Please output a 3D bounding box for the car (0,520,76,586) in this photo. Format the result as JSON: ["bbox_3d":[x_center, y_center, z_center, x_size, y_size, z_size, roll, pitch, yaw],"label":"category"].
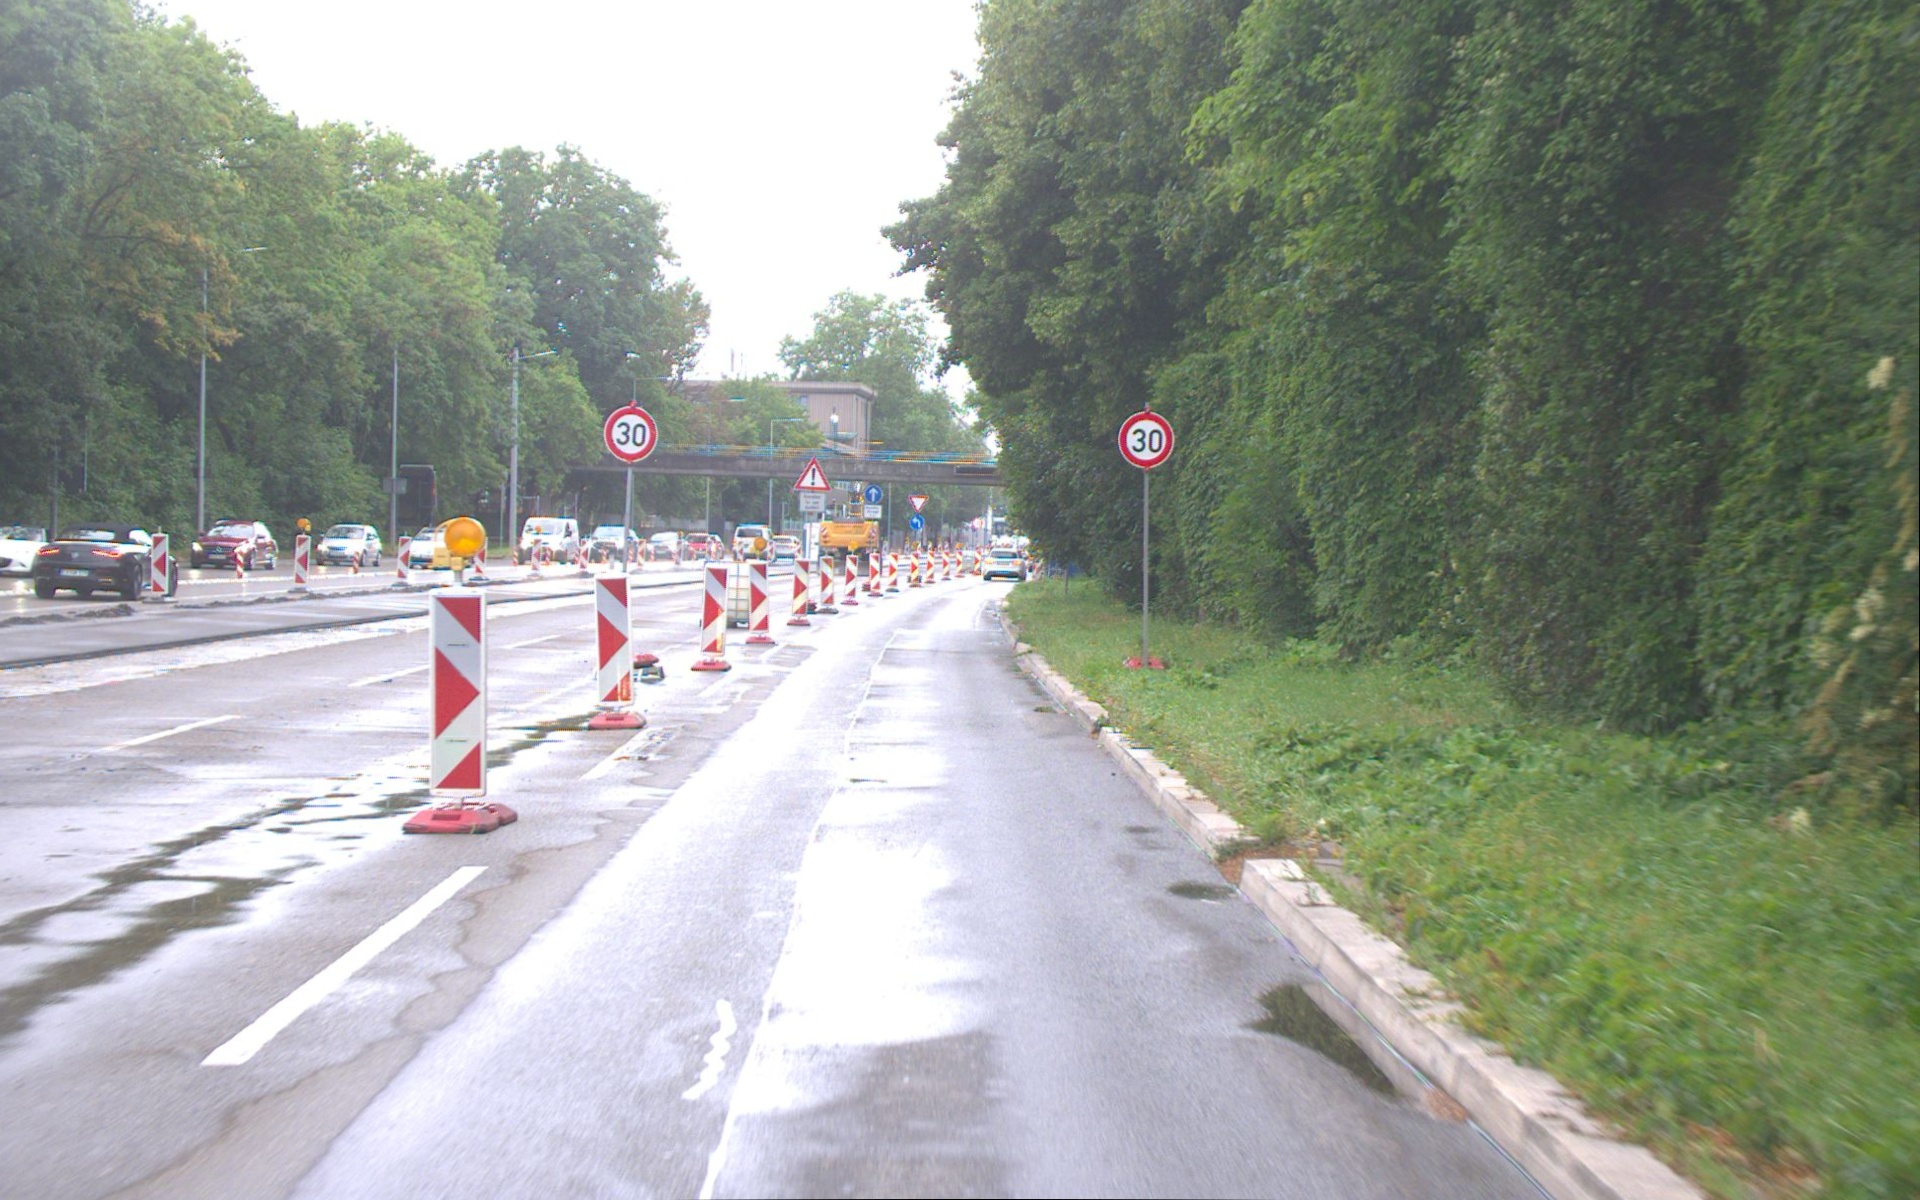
[{"bbox_3d":[-21.877,-1.114,79.595,1.670,1.480,4.320,1,1,0],"label":"car"}]

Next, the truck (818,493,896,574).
[{"bbox_3d":[-4.643,-3.057,158.161,3.259,3.485,13.871,1,1,-1],"label":"truck"}]

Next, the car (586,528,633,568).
[{"bbox_3d":[-16.303,-2.439,160.072,1.670,1.802,4.320,1,1,0],"label":"car"}]

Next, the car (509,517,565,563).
[{"bbox_3d":[-17.187,-2.455,139.786,1.670,1.802,4.320,1,1,0],"label":"car"}]

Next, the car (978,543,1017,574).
[{"bbox_3d":[1.697,-1.841,153.605,1.697,1.331,3.491,-1,1,1],"label":"car"}]

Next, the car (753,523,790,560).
[{"bbox_3d":[-9.887,-3.072,180.366,1.670,1.802,4.321,1,2,0],"label":"car"}]

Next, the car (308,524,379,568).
[{"bbox_3d":[-21.254,-1.867,118.641,1.670,1.480,4.049,1,1,0],"label":"car"}]

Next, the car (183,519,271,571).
[{"bbox_3d":[-21.896,-1.659,102.806,1.670,1.480,4.320,1,1,0],"label":"car"}]

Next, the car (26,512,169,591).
[{"bbox_3d":[-16.056,-0.918,64.175,1.607,1.399,4.041,1,1,0],"label":"car"}]

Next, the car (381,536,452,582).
[{"bbox_3d":[-18.344,-1.409,116.104,1.670,1.480,4.320,1,1,0],"label":"car"}]
